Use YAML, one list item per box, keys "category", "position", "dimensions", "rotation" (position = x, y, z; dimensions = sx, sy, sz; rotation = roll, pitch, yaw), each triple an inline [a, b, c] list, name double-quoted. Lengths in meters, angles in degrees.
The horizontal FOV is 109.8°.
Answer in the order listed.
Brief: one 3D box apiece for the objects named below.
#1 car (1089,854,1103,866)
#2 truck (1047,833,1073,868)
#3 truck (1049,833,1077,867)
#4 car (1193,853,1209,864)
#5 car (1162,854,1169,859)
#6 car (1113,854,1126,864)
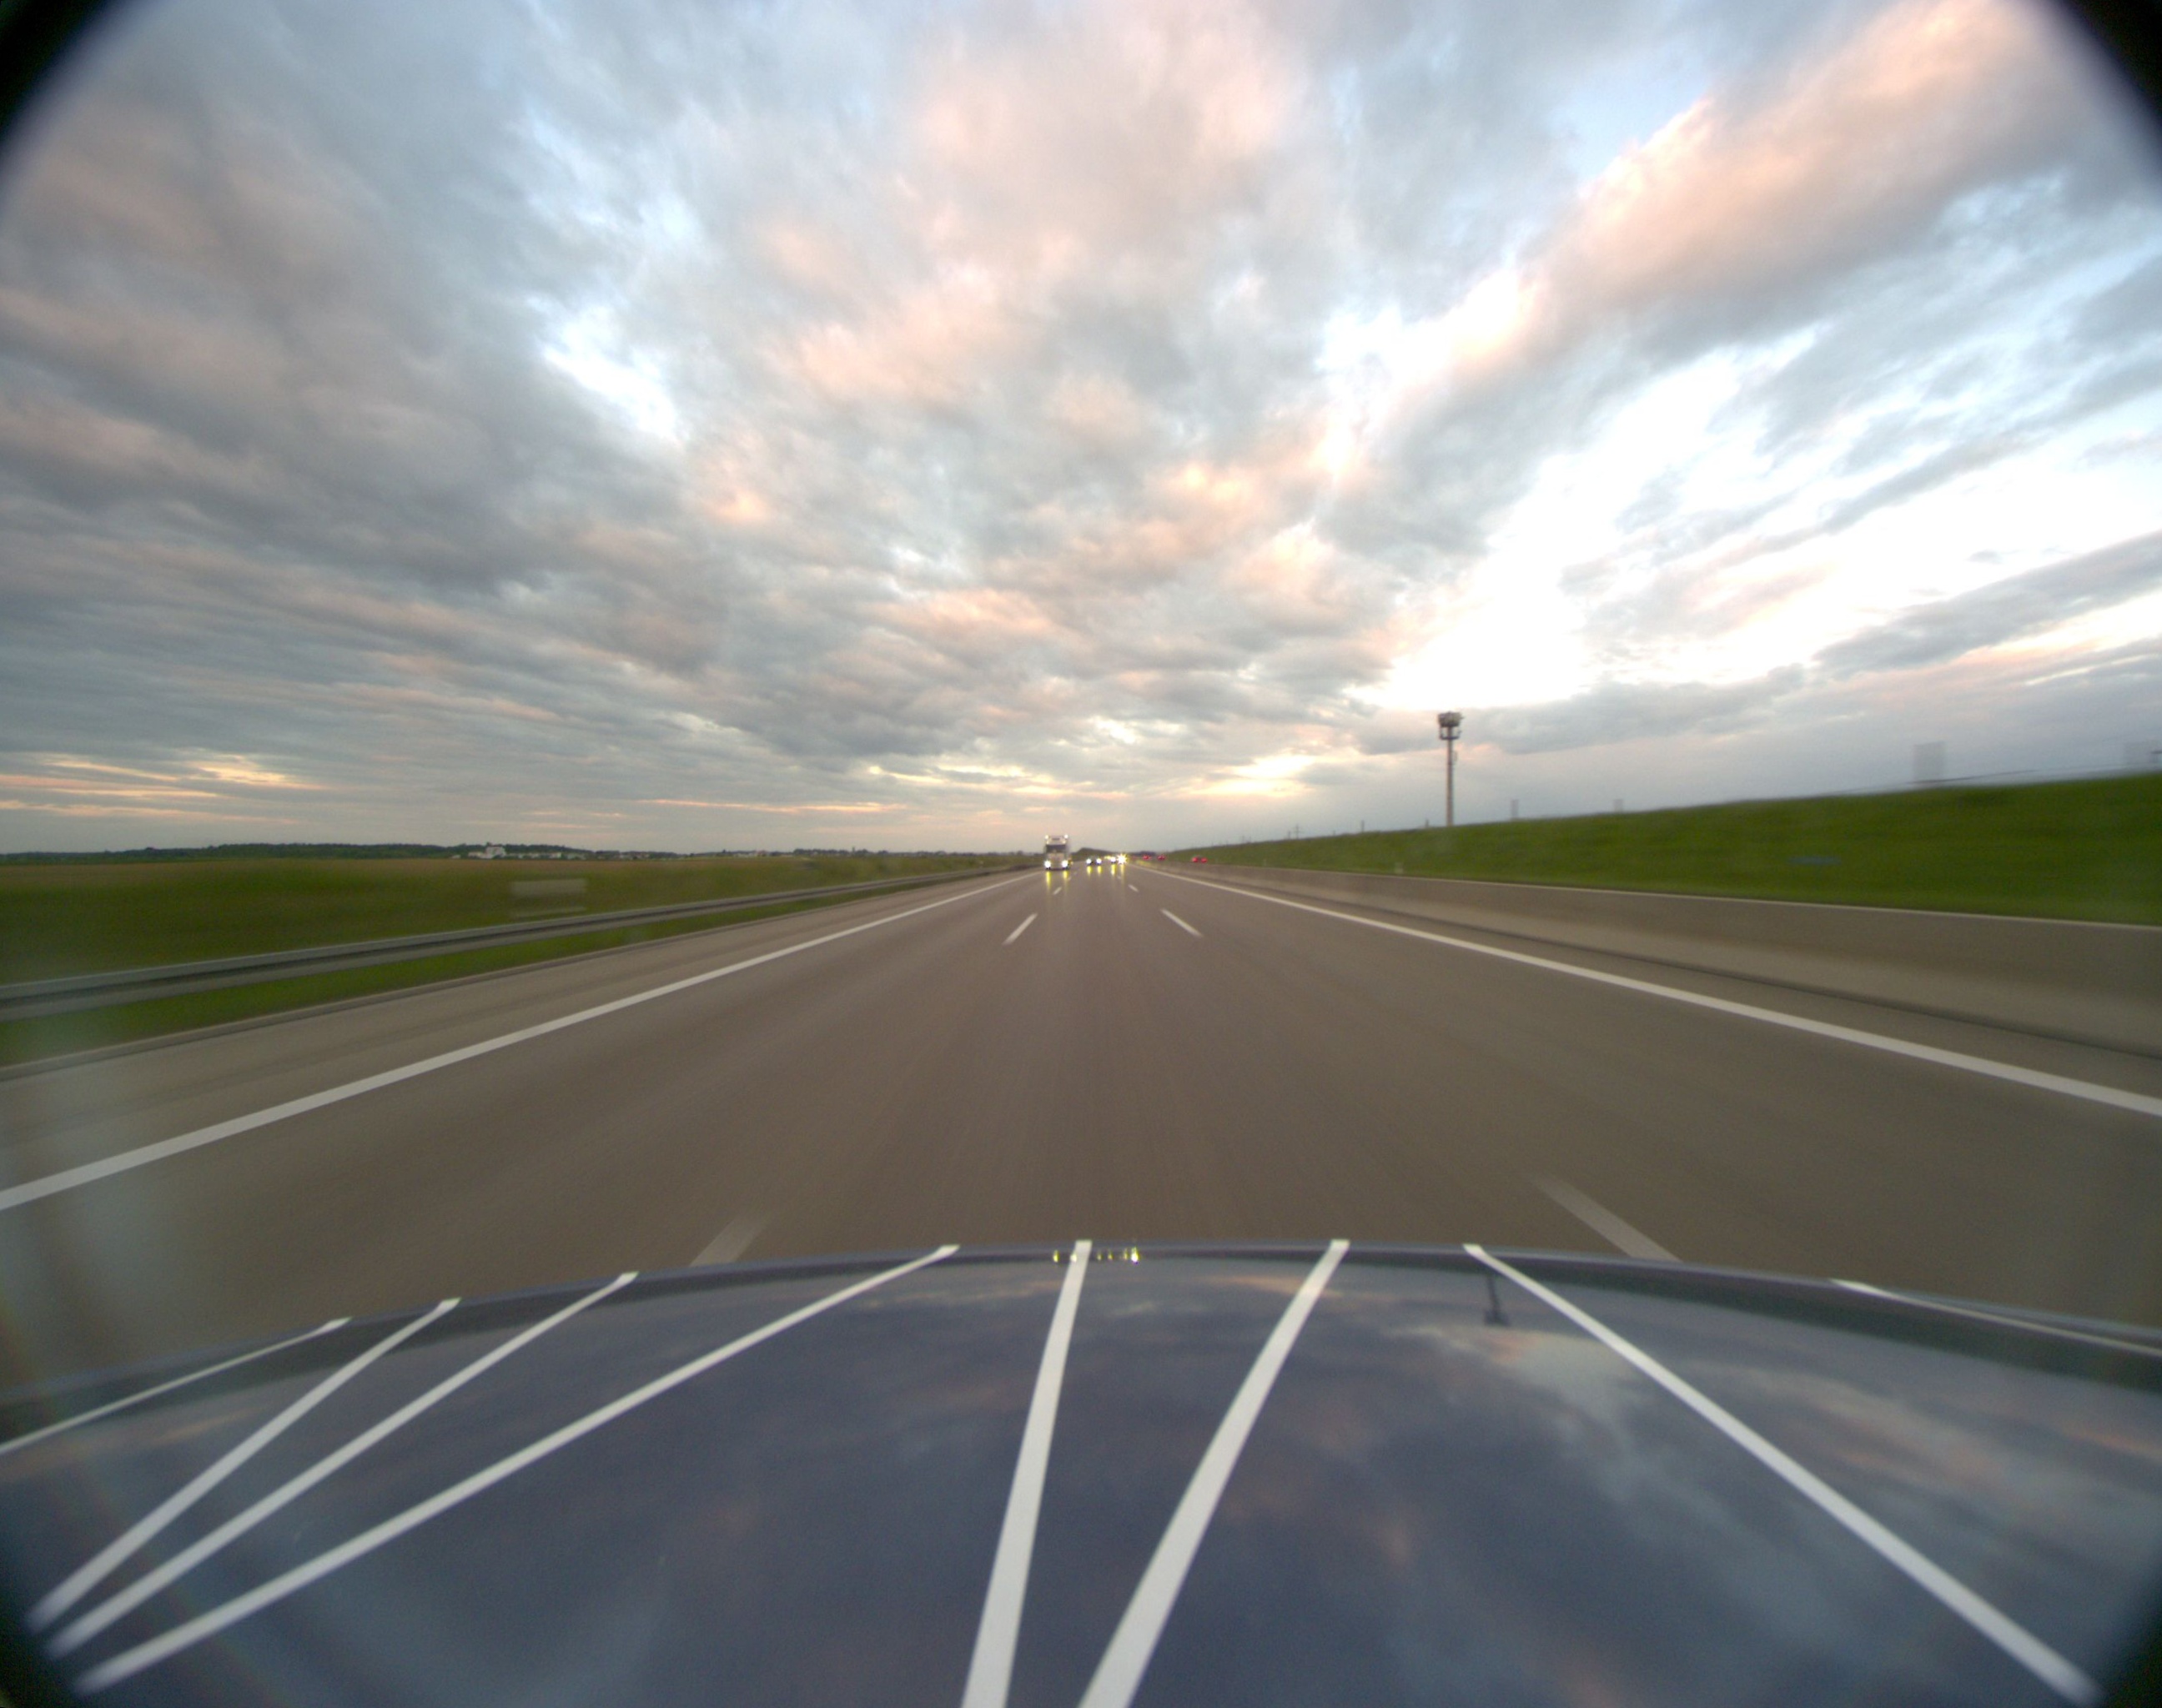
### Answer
- category: "car"
  position: [2.200, 0.831, 112.401]
  dimensions: [1.998, 1.652, 4.851]
  rotation: [-3, 0, 2]
- category: "truck"
  position: [-2.457, -0.404, 89.854]
  dimensions: [2.596, 3.999, 5.860]
  rotation: [-1, 0, 2]
- category: "truck"
  position: [-2.205, -0.460, 96.147]
  dimensions: [2.596, 3.999, 12.987]
  rotation: [-1, 0, 2]
- category: "car"
  position: [17.962, 0.654, 114.175]
  dimensions: [1.857, 1.583, 4.106]
  rotation: [0, 0, 1]
- category: "car"
  position: [27.122, 0.705, 242.978]
  dimensions: [1.866, 1.544, 4.581]
  rotation: [0, 0, 1]
- category: "car"
  position: [6.627, 0.857, 131.935]
  dimensions: [1.998, 1.652, 4.000]
  rotation: [-3, 1, 1]
